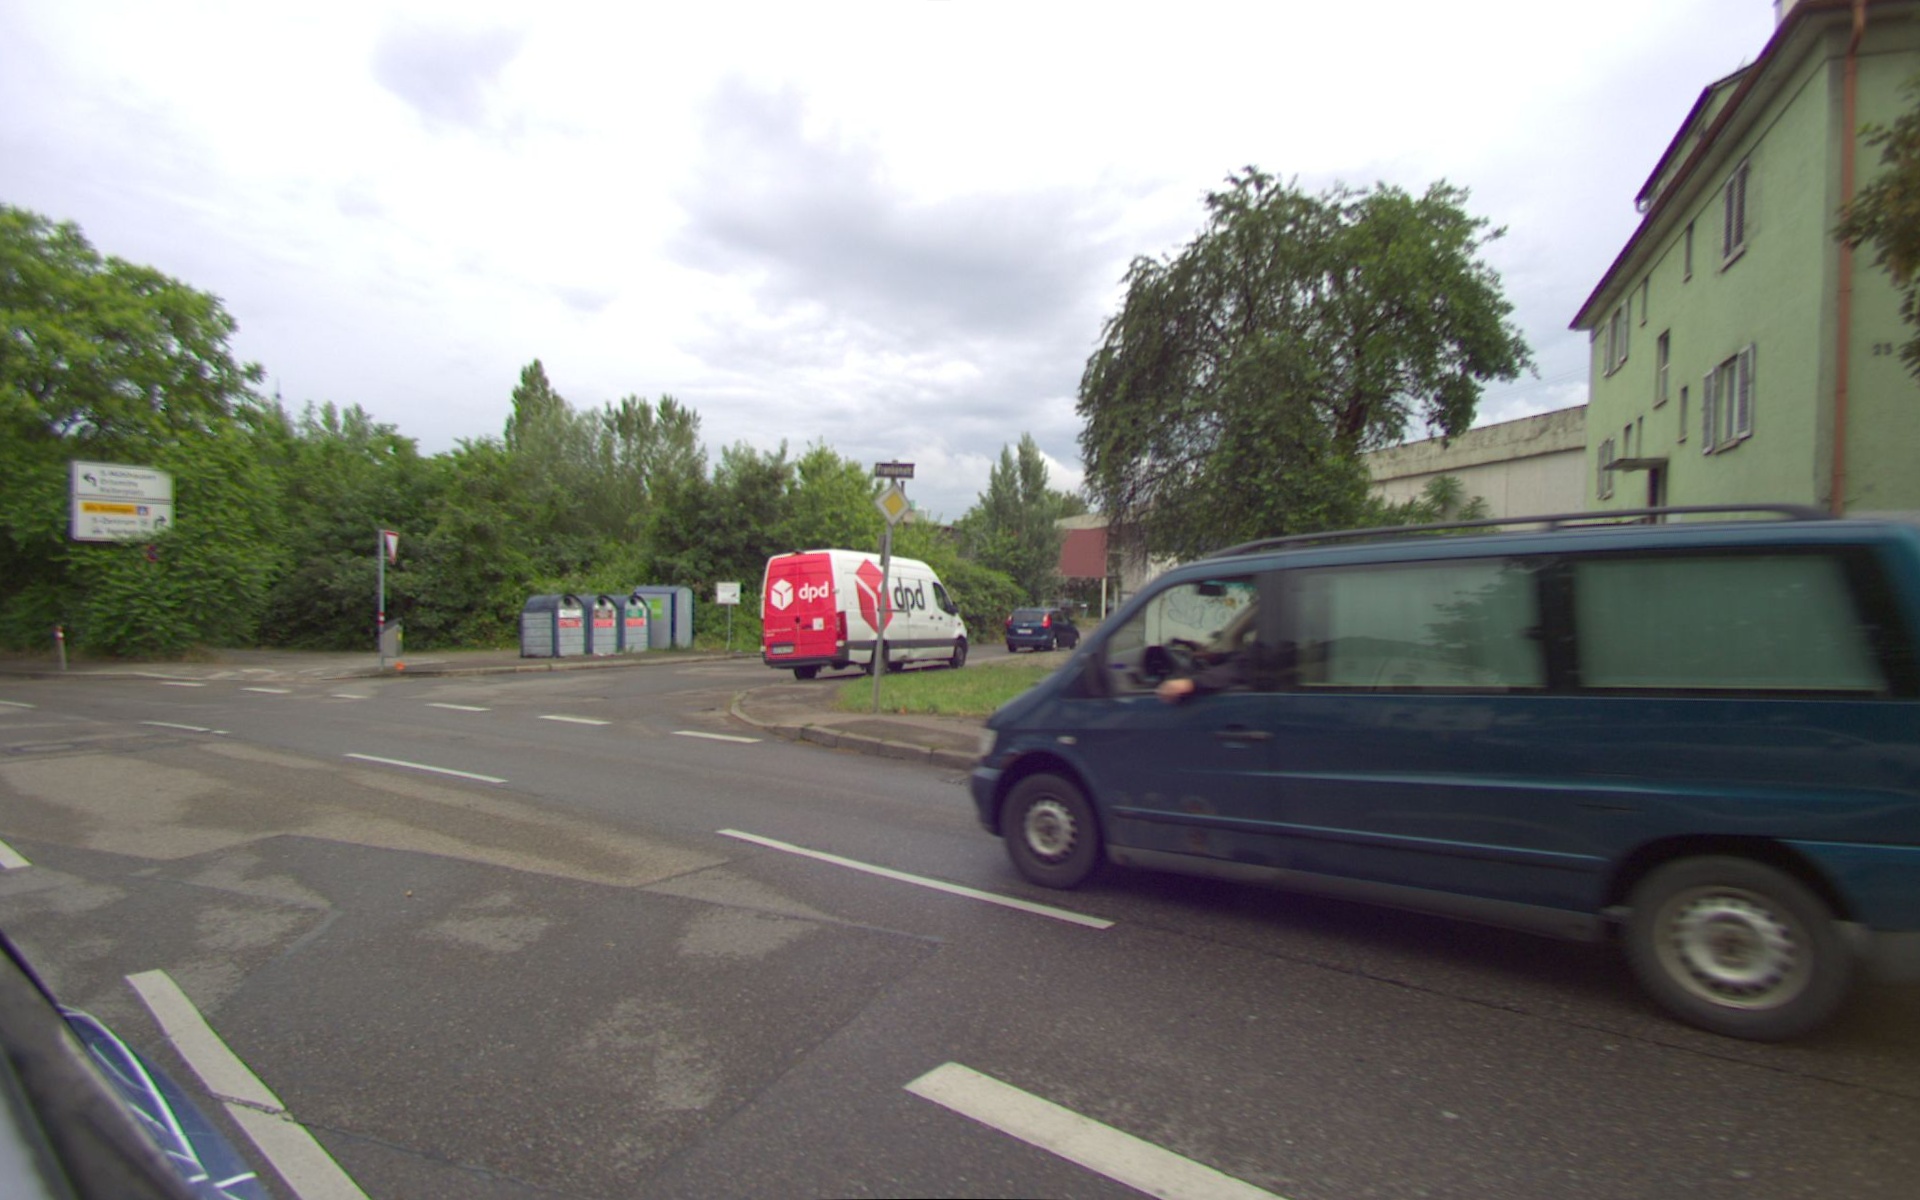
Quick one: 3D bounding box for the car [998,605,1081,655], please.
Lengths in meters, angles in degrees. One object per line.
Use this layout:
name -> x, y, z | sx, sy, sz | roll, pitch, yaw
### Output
car -> 2.998, 1.044, 37.107 | 1.985, 1.642, 4.224 | 0, 0, 20

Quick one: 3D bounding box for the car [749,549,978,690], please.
car -> -1.870, 0.362, 22.817 | 2.248, 2.675, 6.772 | 0, 0, 23

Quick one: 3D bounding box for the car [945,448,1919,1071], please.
car -> 2.293, 0.524, 5.113 | 4.682, 1.946, 1.937 | -1, -1, 42

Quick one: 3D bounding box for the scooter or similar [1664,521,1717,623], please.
scooter or similar -> 9.803, -0.399, 13.567 | 0.529, 1.283, 1.506 | 0, 4, 38
